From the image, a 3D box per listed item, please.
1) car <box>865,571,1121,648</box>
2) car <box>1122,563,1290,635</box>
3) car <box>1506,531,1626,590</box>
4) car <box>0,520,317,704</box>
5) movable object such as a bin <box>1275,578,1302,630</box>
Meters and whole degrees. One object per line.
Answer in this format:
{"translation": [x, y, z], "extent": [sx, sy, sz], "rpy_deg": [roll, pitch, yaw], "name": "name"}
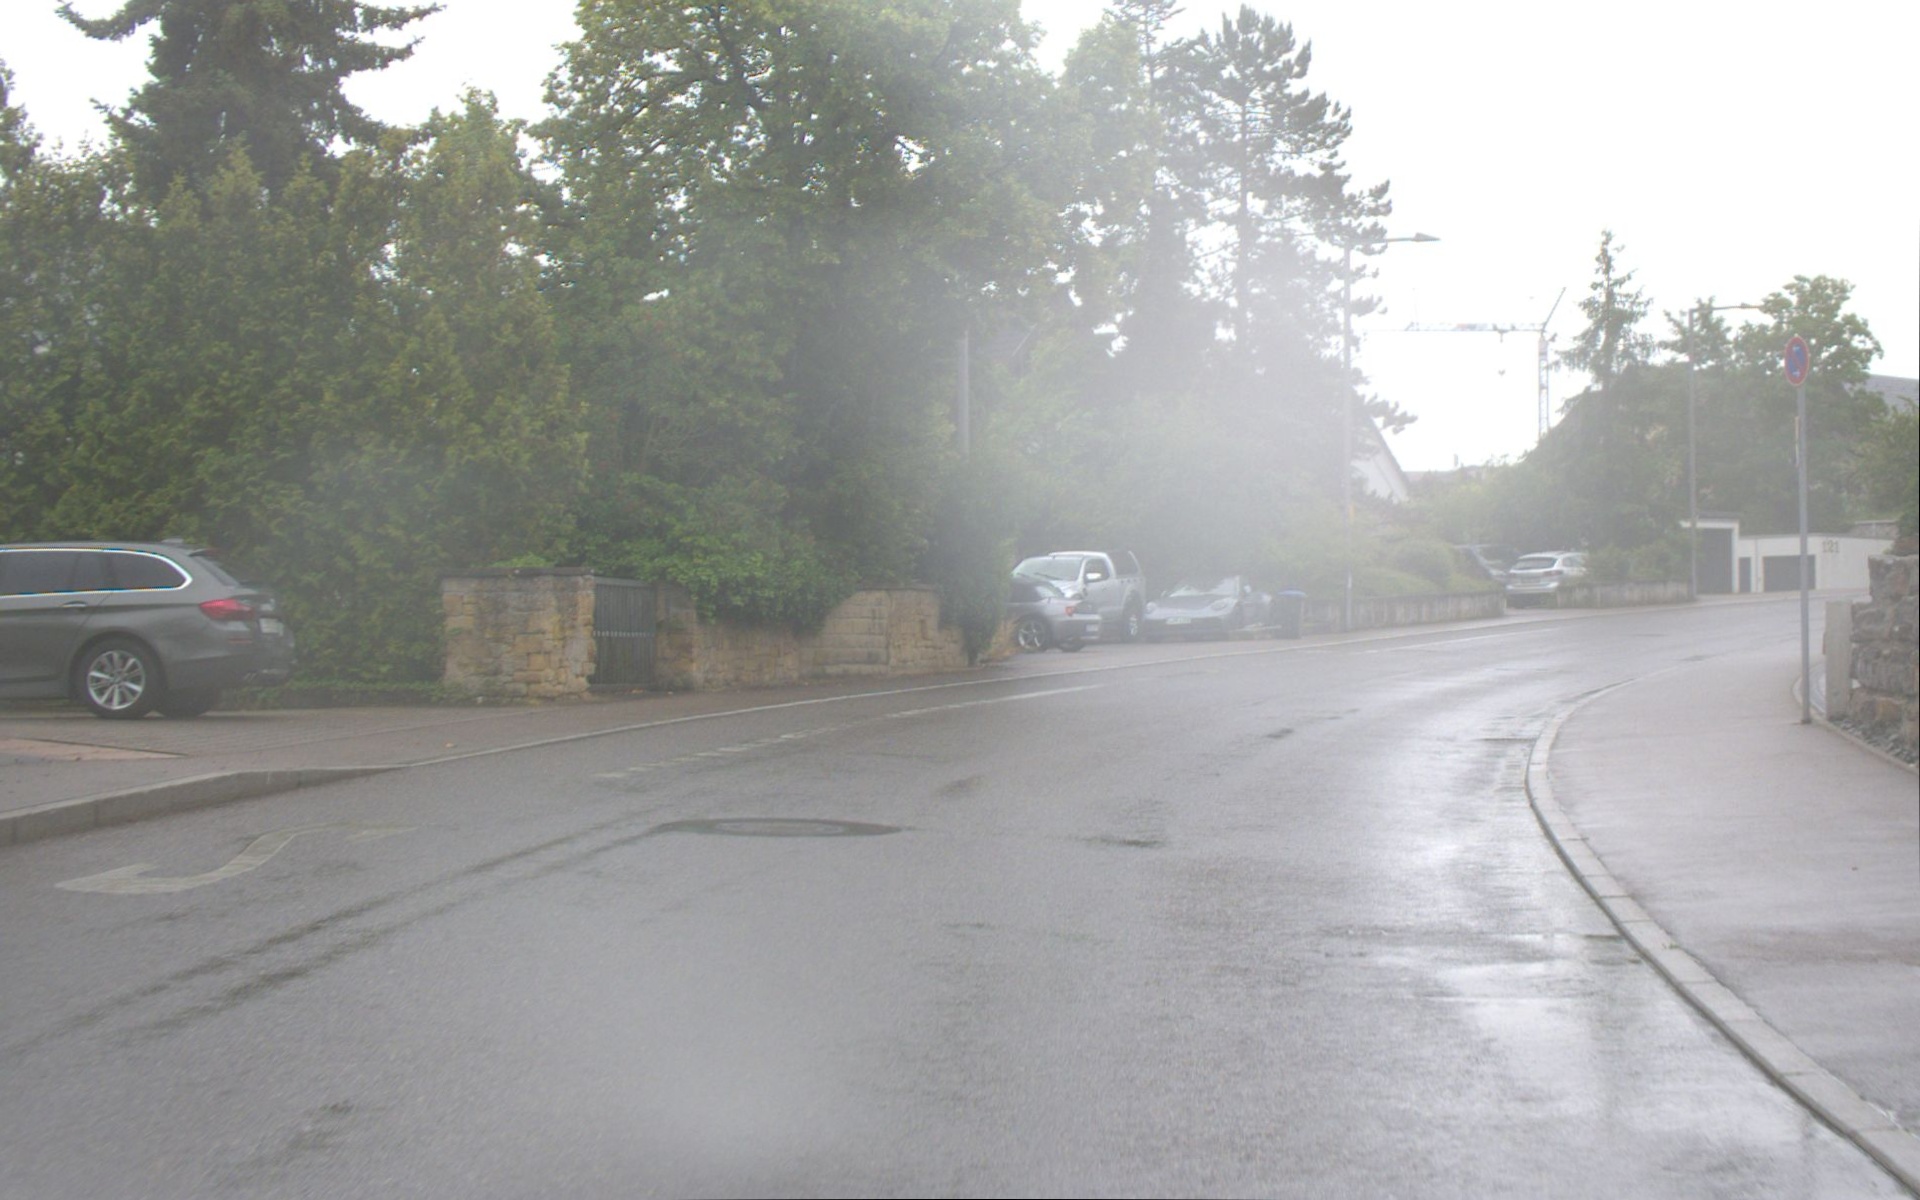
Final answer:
{"translation": [0.574, 0.158, 59.326], "extent": [3.992, 1.267, 1.871], "rpy_deg": [0, 1, 26], "name": "car"}
{"translation": [4.874, -0.035, 67.575], "extent": [1.996, 1.303, 4.428], "rpy_deg": [-1, 1, 22], "name": "car"}
{"translation": [16.567, -1.088, 93.899], "extent": [1.738, 1.546, 3.992], "rpy_deg": [-1, 1, 34], "name": "car"}
{"translation": [-7.785, 0.081, 28.440], "extent": [4.540, 1.471, 1.839], "rpy_deg": [0, 1, 3], "name": "car"}
{"translation": [6.334, 0.071, 66.261], "extent": [0.370, 0.985, 0.558], "rpy_deg": [-1, 1, 19], "name": "movable object such as a bin"}
